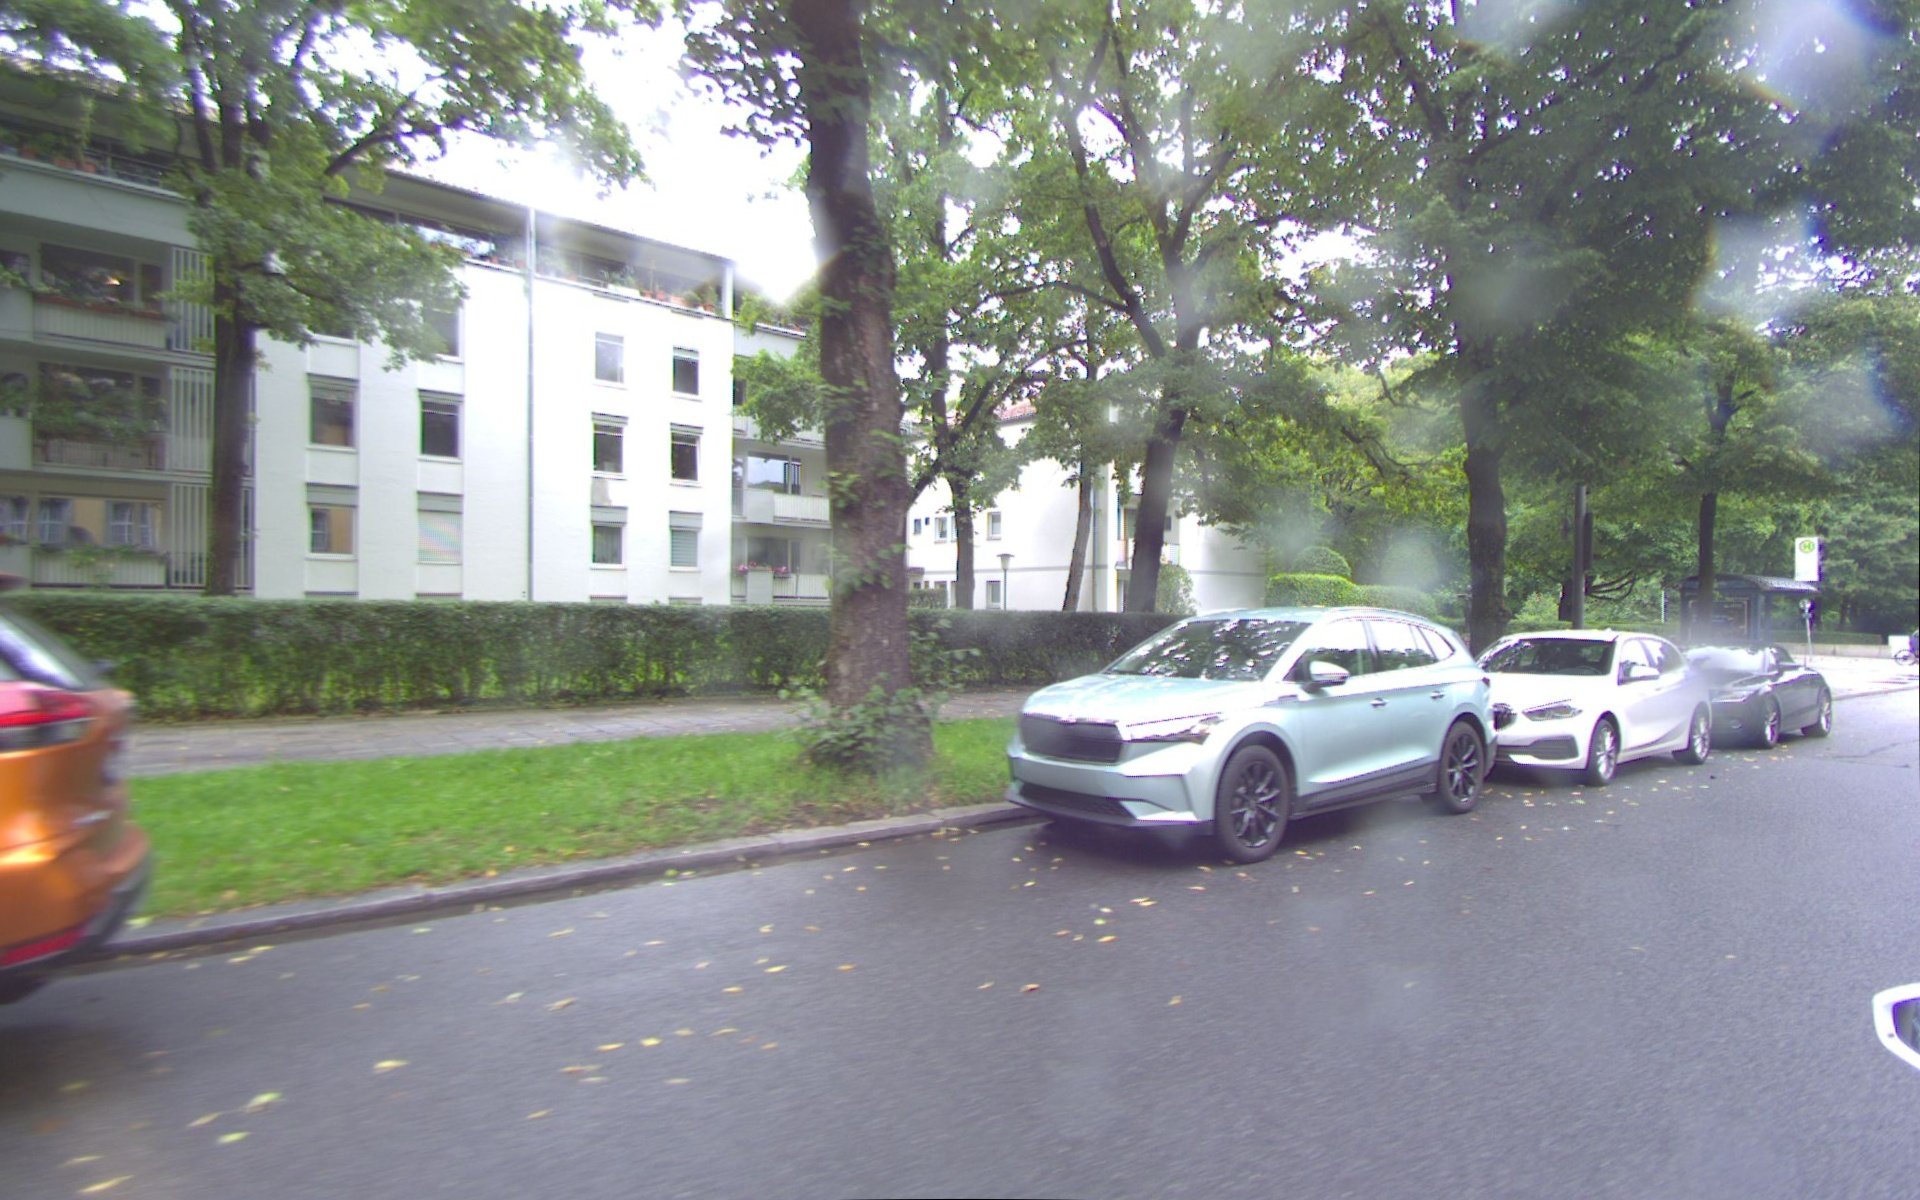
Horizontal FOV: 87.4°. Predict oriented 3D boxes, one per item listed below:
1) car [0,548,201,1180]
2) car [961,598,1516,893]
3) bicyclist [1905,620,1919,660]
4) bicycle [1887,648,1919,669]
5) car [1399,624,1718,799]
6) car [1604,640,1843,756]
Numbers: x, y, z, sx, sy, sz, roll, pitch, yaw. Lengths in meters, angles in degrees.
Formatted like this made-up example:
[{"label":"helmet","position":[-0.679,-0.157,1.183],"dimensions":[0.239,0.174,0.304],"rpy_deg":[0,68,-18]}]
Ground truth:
[{"label":"car","position":[-4.720,0.689,2.380],"dimensions":[4.598,1.751,1.859],"rpy_deg":[2,-1,-37]},{"label":"car","position":[2.315,0.869,7.658],"dimensions":[4.474,1.622,1.801],"rpy_deg":[2,-1,-38]},{"label":"bicyclist","position":[38.332,1.609,40.164],"dimensions":[0.651,1.606,0.743],"rpy_deg":[3,-2,-44]},{"label":"bicycle","position":[38.277,2.351,40.177],"dimensions":[0.566,0.807,1.746],"rpy_deg":[3,-1,-43]},{"label":"car","position":[6.497,1.049,10.721],"dimensions":[4.162,1.517,1.565],"rpy_deg":[2,-1,-38]},{"label":"car","position":[10.626,1.255,13.891],"dimensions":[4.005,1.360,1.566],"rpy_deg":[2,-1,-36]}]
